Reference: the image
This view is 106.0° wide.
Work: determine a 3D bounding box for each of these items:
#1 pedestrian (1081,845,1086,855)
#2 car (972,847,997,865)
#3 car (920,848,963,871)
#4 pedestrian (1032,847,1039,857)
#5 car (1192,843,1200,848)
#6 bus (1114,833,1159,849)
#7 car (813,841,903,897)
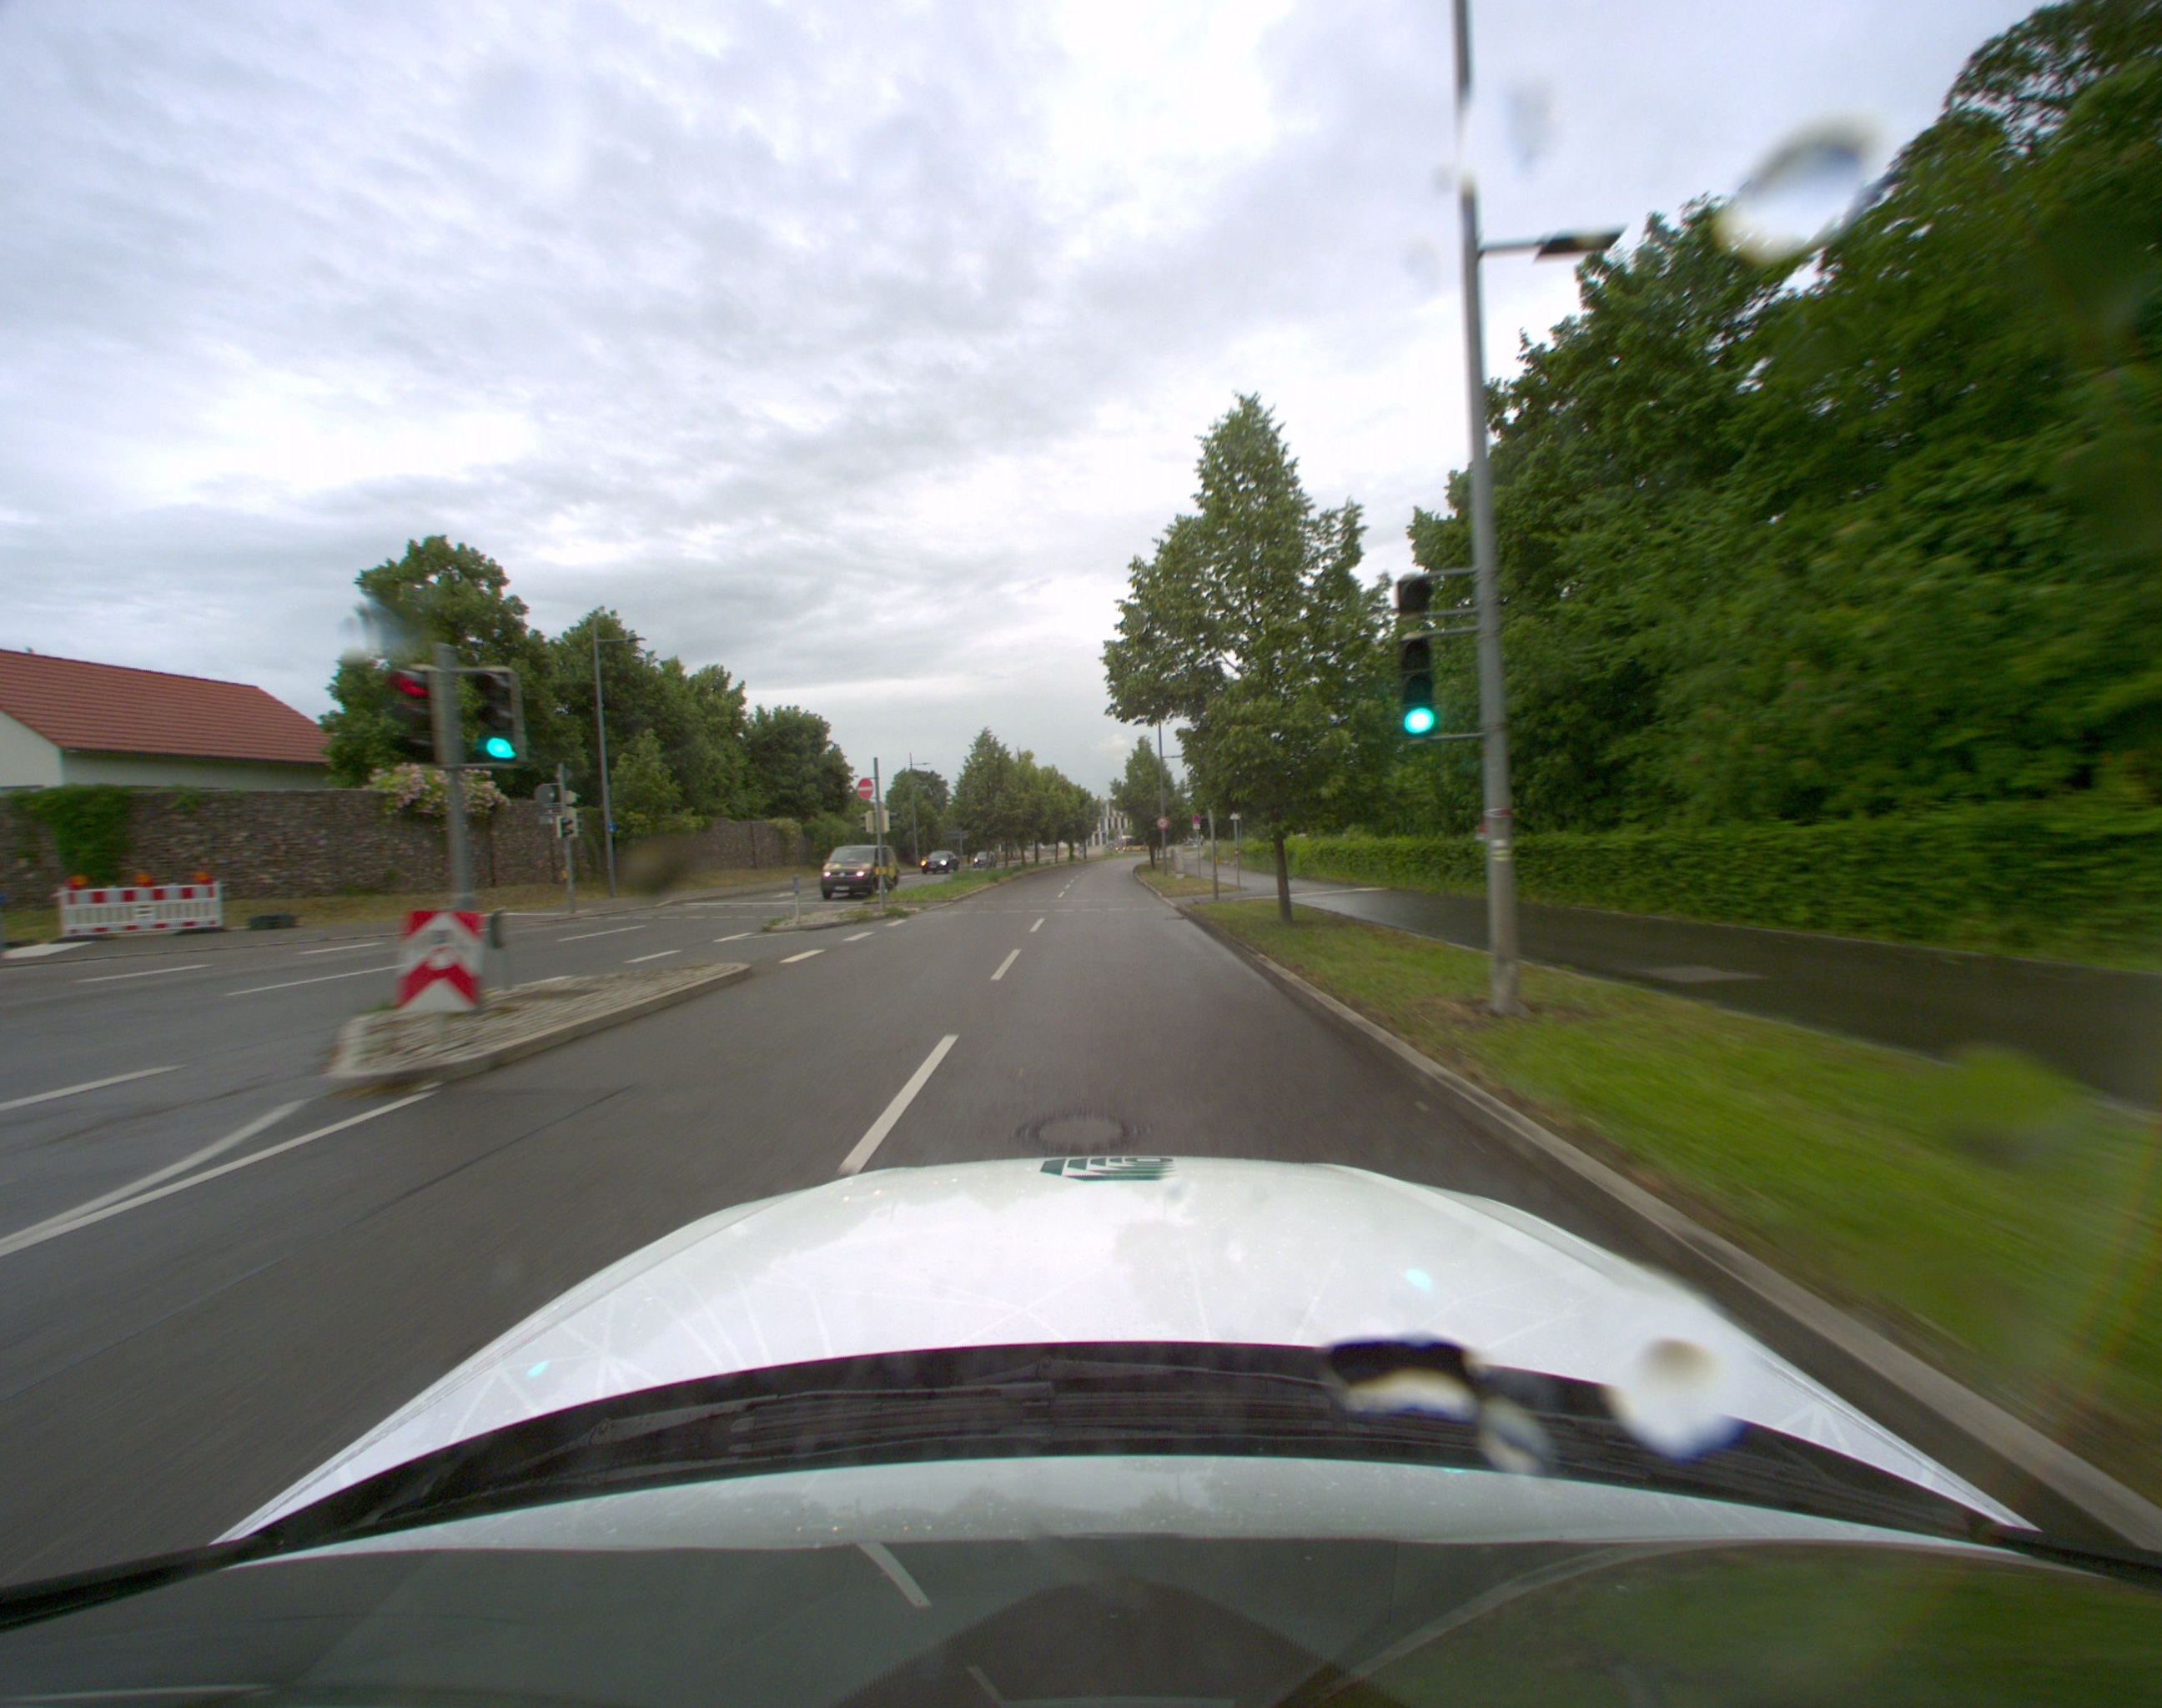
[{"bbox_3d":[0.401,-0.707,143.838,0.832,1.573,0.718,-1,0,-3],"label":"pedestrian"},{"bbox_3d":[-9.014,0.180,76.331,1.678,1.539,2.921,-1,2,5],"label":"car"},{"bbox_3d":[-10.199,0.376,59.854,1.872,1.595,4.774,-1,1,6],"label":"car"},{"bbox_3d":[-6.991,-0.301,126.145,0.808,1.621,0.939,-2,0,14],"label":"pedestrian"},{"bbox_3d":[31.750,-2.335,224.856,1.464,1.494,2.545,-2,0,27],"label":"car"},{"bbox_3d":[12.877,-2.970,186.642,2.758,3.357,18.339,-2,0,29],"label":"bus"},{"bbox_3d":[-8.457,0.505,31.452,2.007,1.919,5.095,-1,1,0],"label":"car"}]
